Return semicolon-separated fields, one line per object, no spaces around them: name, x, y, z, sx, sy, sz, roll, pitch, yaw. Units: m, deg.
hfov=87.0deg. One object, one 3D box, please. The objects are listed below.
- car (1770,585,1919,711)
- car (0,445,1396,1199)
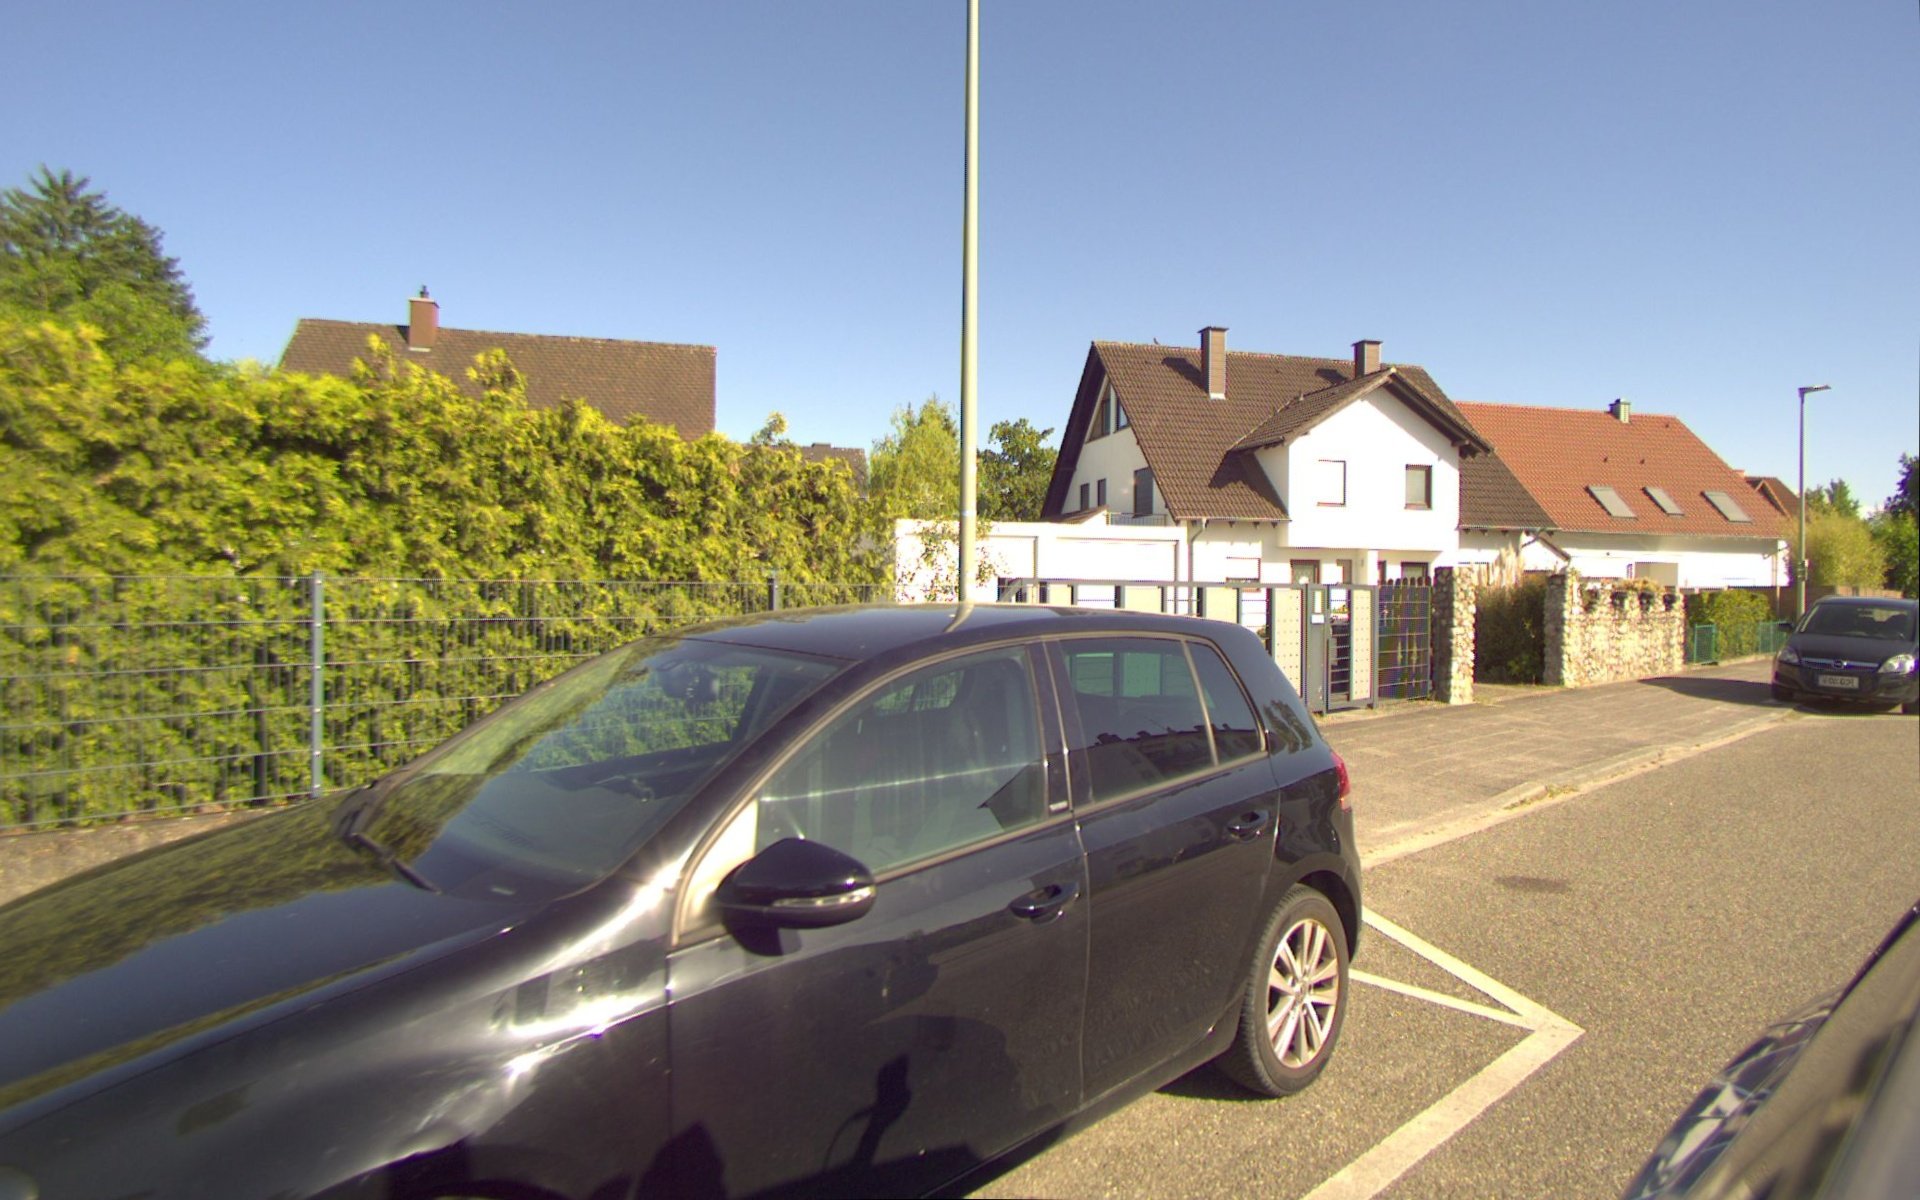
car;14.019;0.636;15.429;4.226;1.680;1.780;0;0;-39
car;-0.529;0.668;2.752;3.751;1.680;1.778;0;0;-42
